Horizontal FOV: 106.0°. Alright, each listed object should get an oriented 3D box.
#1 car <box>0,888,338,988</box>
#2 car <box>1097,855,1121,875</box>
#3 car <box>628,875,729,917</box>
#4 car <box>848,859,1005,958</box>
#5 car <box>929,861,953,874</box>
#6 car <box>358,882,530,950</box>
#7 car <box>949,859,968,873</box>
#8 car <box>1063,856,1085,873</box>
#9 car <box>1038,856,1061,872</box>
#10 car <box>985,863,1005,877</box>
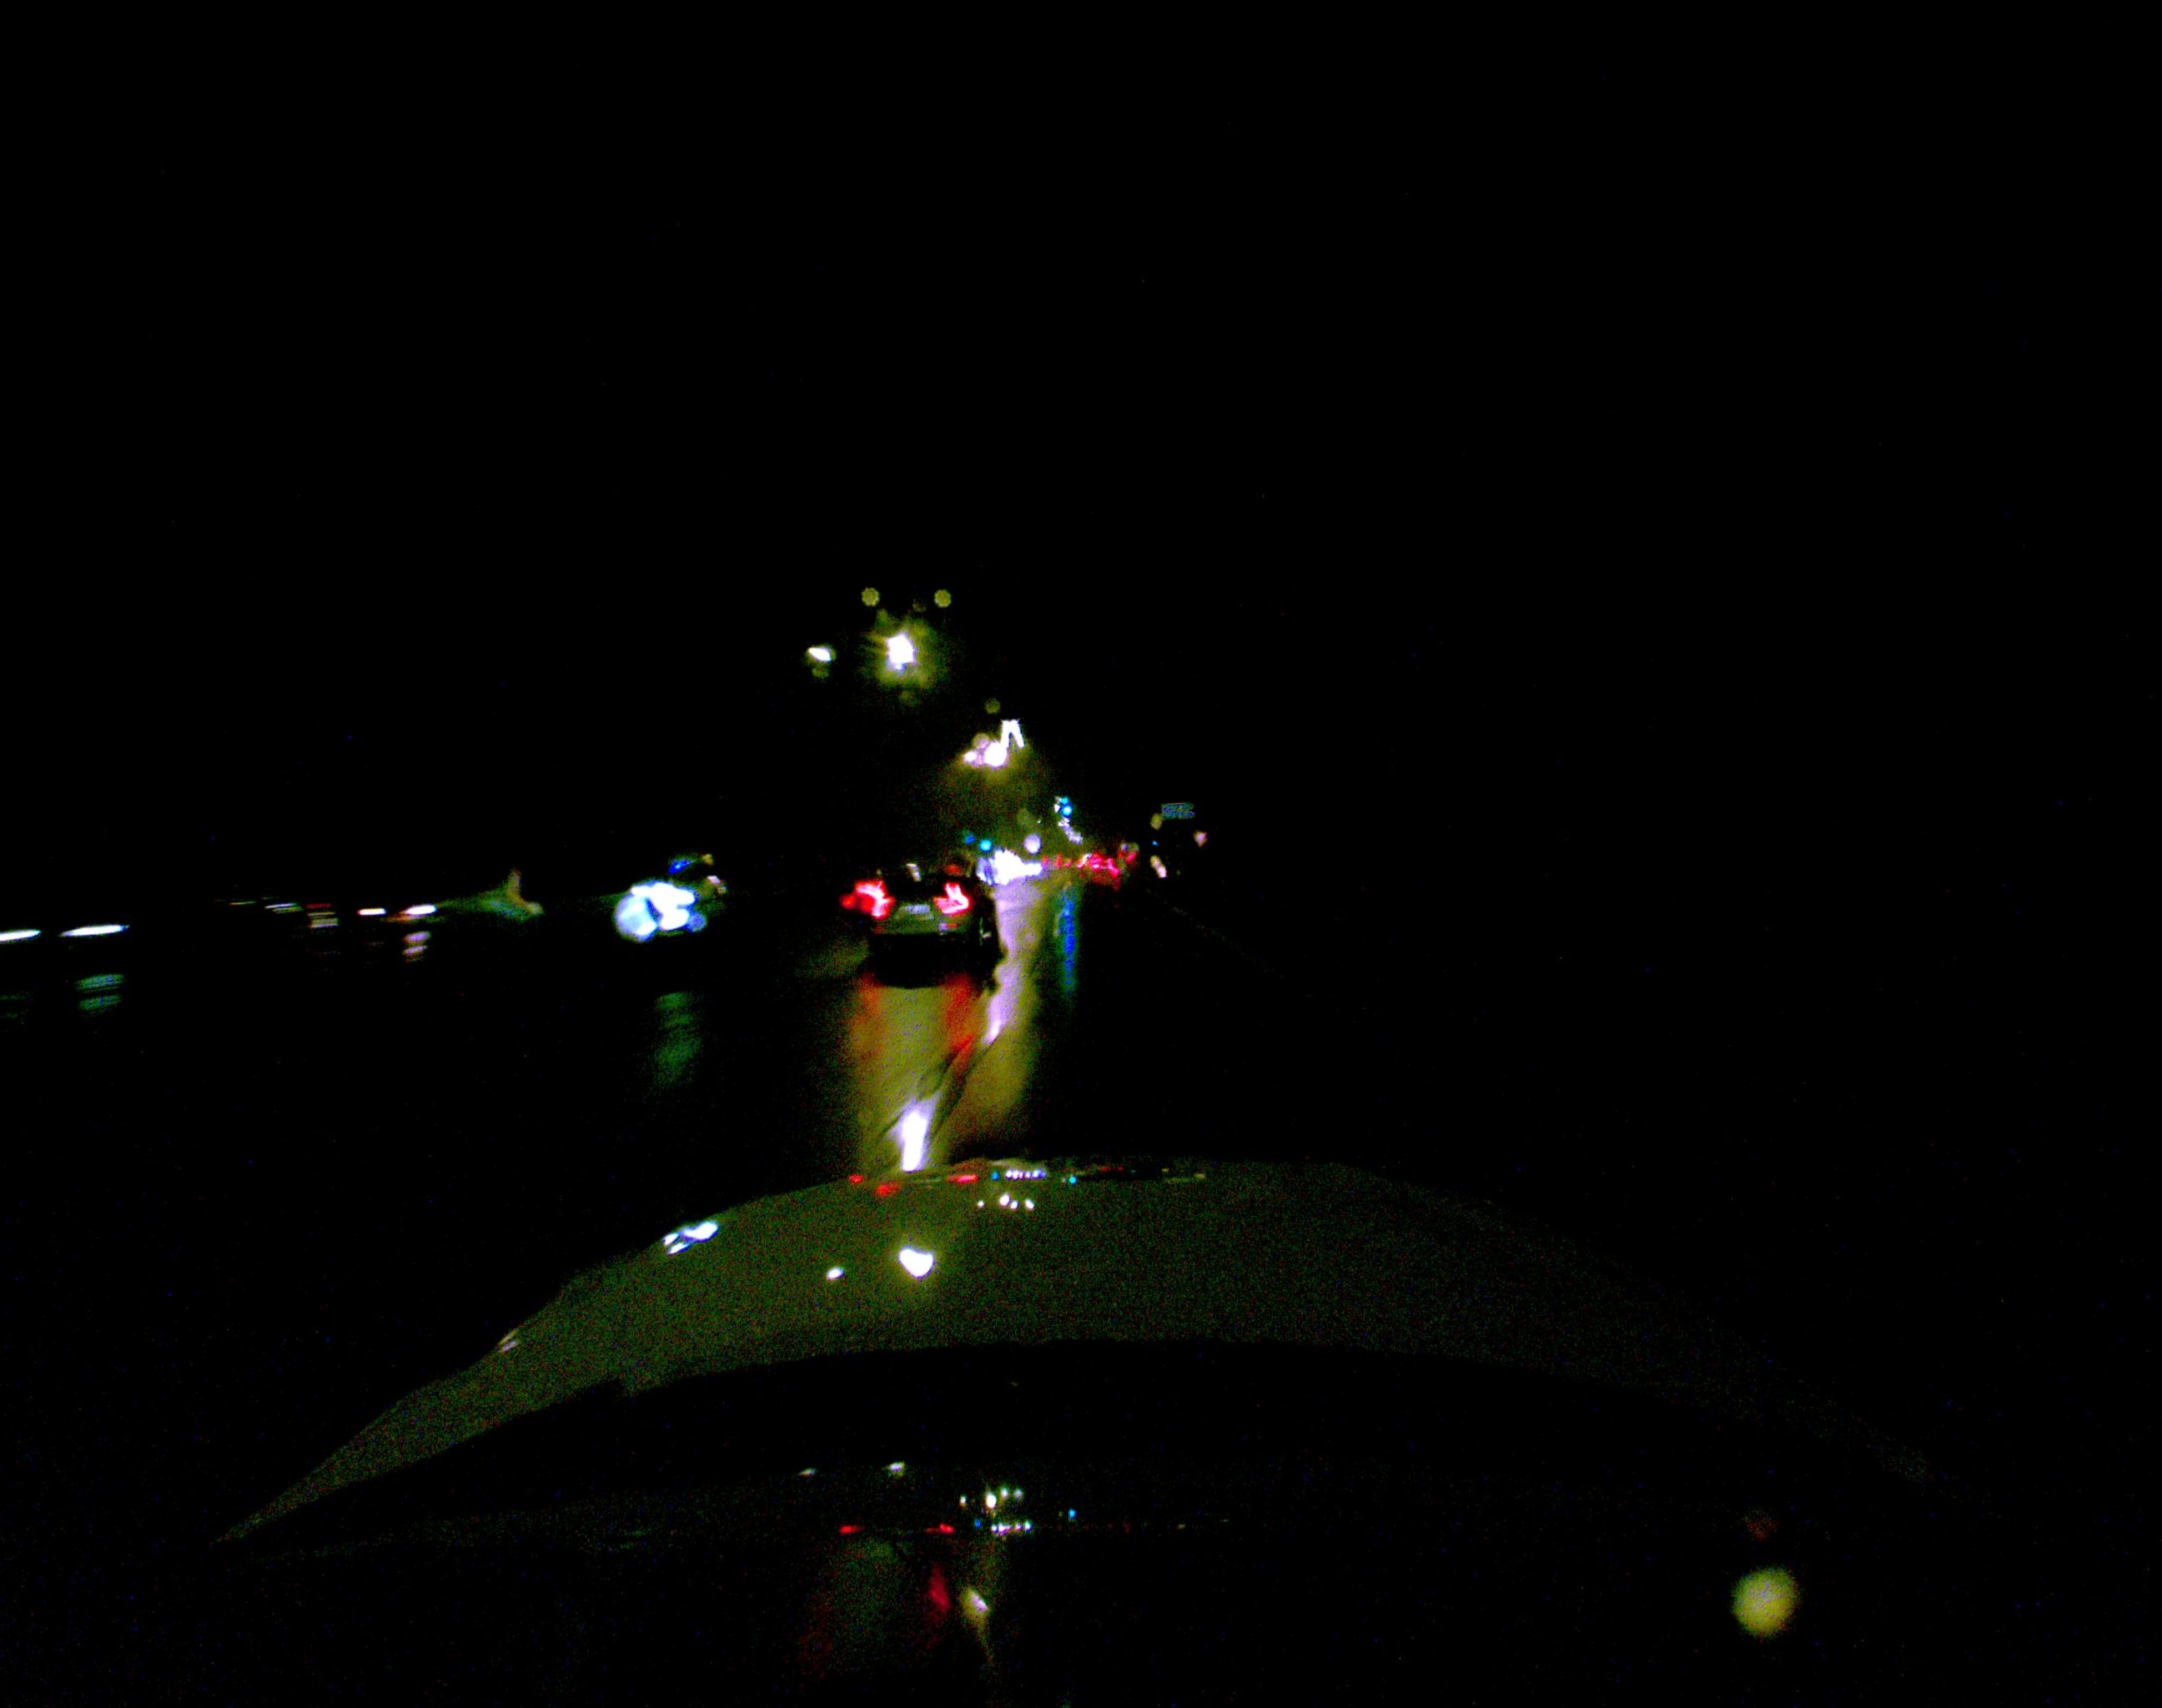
[{"bbox_3d":[-17.759,1.538,16.106,1.845,1.539,4.533,-4,-2,1],"label":"car"},{"bbox_3d":[2.556,1.030,73.339,1.901,1.602,4.004,3,-3,5],"label":"car"},{"bbox_3d":[-16.832,1.720,34.330,1.876,1.530,4.434,-1,0,2],"label":"car"},{"bbox_3d":[-2.534,0.832,14.439,1.789,1.452,4.271,-1,0,2],"label":"car"},{"bbox_3d":[-13.604,1.334,79.317,1.638,1.203,3.614,-1,0,0],"label":"car"},{"bbox_3d":[-17.710,1.658,22.914,1.488,1.602,4.147,-1,0,2],"label":"car"},{"bbox_3d":[-16.454,1.613,109.500,1.756,1.892,4.206,-1,0,1],"label":"car"},{"bbox_3d":[-0.718,1.157,87.035,2.169,1.602,4.001,3,-3,2],"label":"car"},{"bbox_3d":[-3.752,1.248,96.912,2.167,1.602,4.004,3,-3,5],"label":"car"},{"bbox_3d":[-9.414,1.748,89.447,1.583,1.427,3.352,-1,0,3],"label":"car"}]
